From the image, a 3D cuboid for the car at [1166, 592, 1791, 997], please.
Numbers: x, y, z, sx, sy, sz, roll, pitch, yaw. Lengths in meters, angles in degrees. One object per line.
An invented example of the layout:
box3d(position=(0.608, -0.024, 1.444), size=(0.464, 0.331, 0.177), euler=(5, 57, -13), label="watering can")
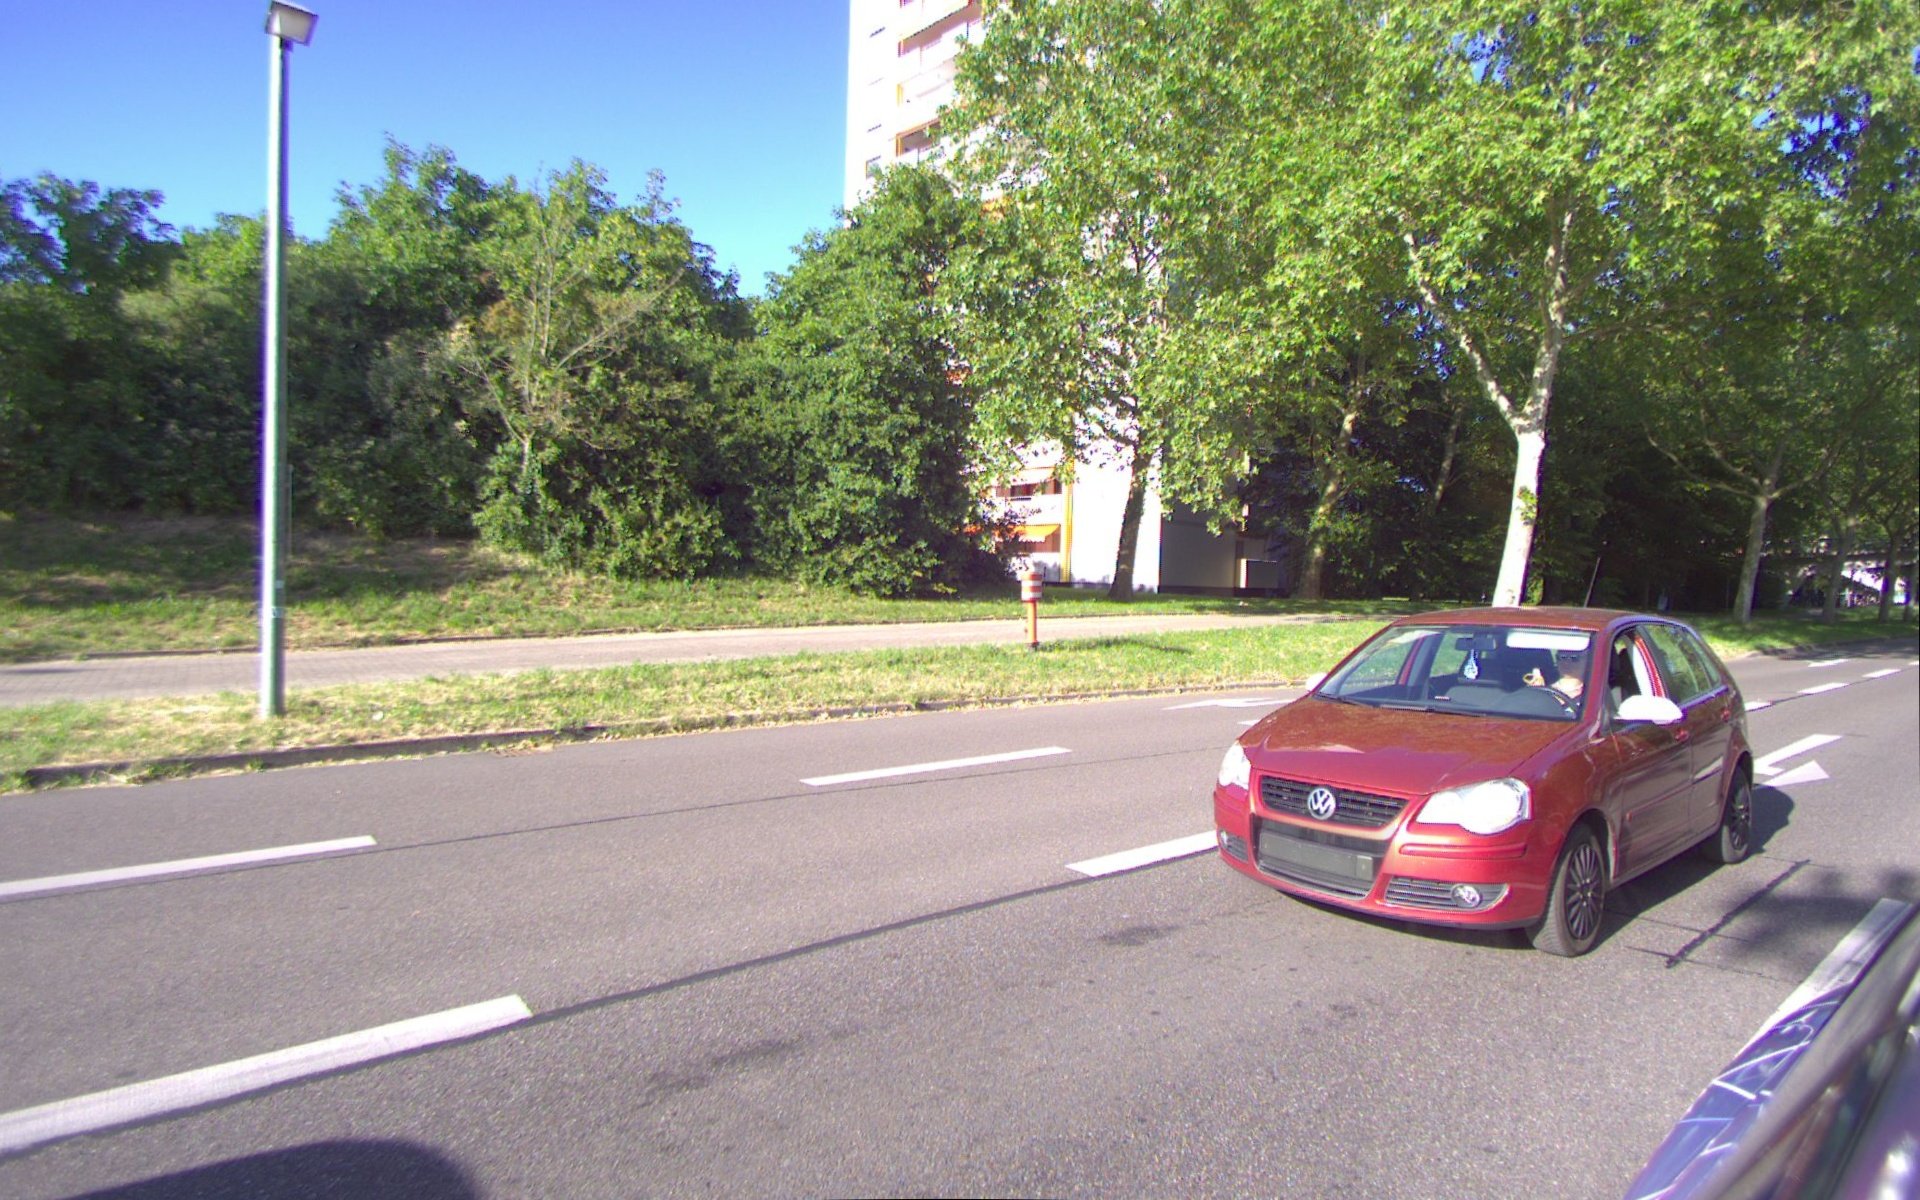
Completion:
box3d(position=(2.969, 0.696, 5.495), size=(3.692, 1.456, 1.646), euler=(-1, 1, -38), label="car")
